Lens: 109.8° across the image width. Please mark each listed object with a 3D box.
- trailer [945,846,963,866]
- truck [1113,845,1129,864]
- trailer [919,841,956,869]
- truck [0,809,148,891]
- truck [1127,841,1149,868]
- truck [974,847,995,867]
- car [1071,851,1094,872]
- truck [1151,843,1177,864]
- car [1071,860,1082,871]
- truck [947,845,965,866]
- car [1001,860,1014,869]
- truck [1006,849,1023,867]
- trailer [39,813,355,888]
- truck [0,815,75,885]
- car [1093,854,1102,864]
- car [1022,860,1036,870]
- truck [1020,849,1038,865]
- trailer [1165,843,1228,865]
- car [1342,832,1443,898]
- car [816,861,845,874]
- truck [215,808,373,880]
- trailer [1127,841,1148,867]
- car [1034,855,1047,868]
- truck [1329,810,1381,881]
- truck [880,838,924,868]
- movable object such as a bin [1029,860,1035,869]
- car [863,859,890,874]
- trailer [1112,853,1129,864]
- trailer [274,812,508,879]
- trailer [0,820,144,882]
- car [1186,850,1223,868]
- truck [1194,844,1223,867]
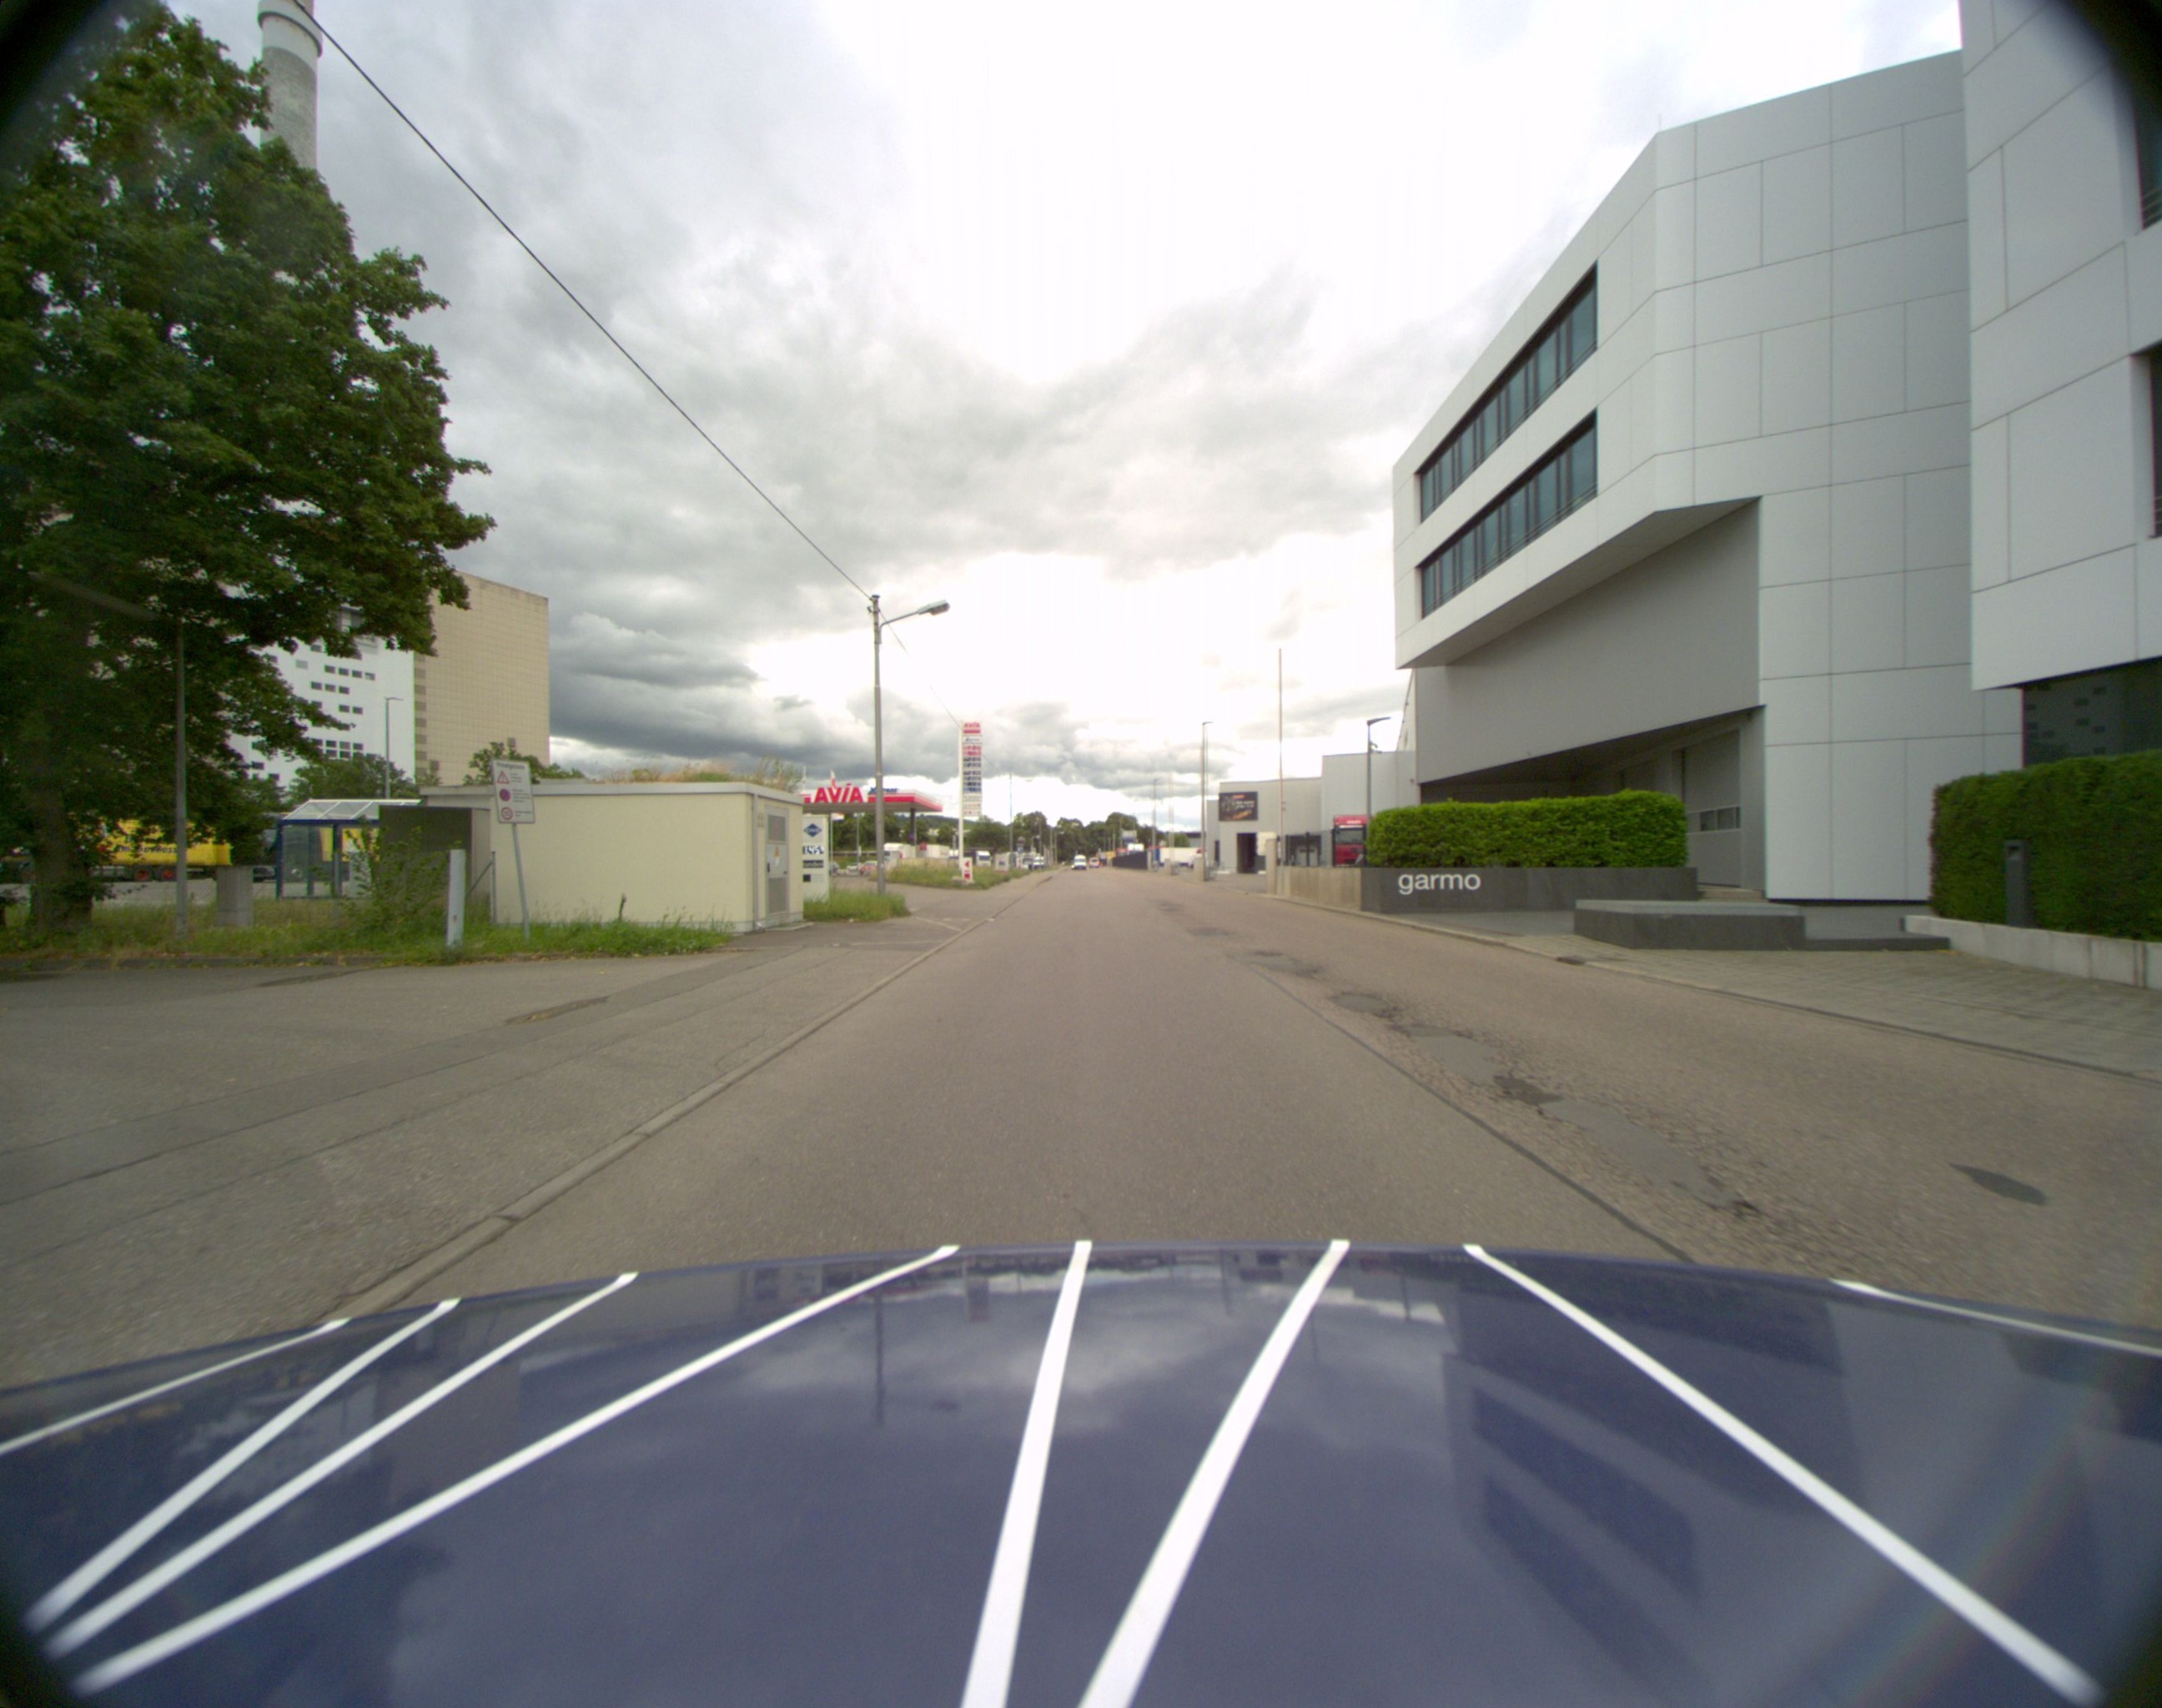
[{"bbox_3d":[-26.543,0.454,158.248,2.841,4.070,13.381,1,-1,-14],"label":"trailer"},{"bbox_3d":[8.483,0.169,159.827,3.021,3.826,5.670,1,0,0],"label":"truck"},{"bbox_3d":[-21.336,0.151,113.518,2.964,3.944,10.408,1,0,3],"label":"trailer"},{"bbox_3d":[-57.458,-0.205,42.514,3.052,4.237,6.040,0,0,-1],"label":"truck"},{"bbox_3d":[9.232,0.080,123.898,3.366,4.135,5.629,1,0,4],"label":"truck"},{"bbox_3d":[-20.752,0.655,163.122,2.877,4.070,6.746,1,-1,-20],"label":"truck"},{"bbox_3d":[0.190,1.321,130.994,3.339,3.586,8.668,0,-1,-3],"label":"car"},{"bbox_3d":[16.873,-0.132,154.062,4.878,4.108,3.048,1,0,1],"label":"truck"},{"bbox_3d":[-0.822,2.191,145.266,1.713,2.001,3.888,0,0,-5],"label":"car"},{"bbox_3d":[-25.071,0.374,152.297,2.876,4.070,6.749,1,-1,-14],"label":"truck"},{"bbox_3d":[-12.860,1.835,132.750,1.769,1.561,4.000,-3,0,0],"label":"car"},{"bbox_3d":[-15.115,0.878,172.372,2.876,3.989,6.748,1,-1,-15],"label":"truck"},{"bbox_3d":[-57.567,-0.152,50.880,3.028,4.235,15.724,0,0,-1],"label":"trailer"},{"bbox_3d":[-61.455,-0.213,42.363,2.697,3.892,6.040,0,0,-1],"label":"truck"},{"bbox_3d":[3.874,1.235,181.185,1.998,2.401,5.257,-2,-1,2],"label":"car"},{"bbox_3d":[-7.792,1.600,114.862,1.778,1.455,4.560,-1,-1,0],"label":"car"},{"bbox_3d":[-12.156,0.816,176.569,2.876,3.608,6.748,1,-1,-15],"label":"truck"},{"bbox_3d":[23.221,0.000,152.688,12.020,4.108,3.053,1,0,19],"label":"trailer"},{"bbox_3d":[8.957,0.303,22.112,1.654,1.751,3.179,-2,0,2],"label":"car"},{"bbox_3d":[-27.575,1.475,83.748,1.769,1.382,4.215,1,0,-1],"label":"car"},{"bbox_3d":[-45.341,-0.505,44.079,2.964,3.892,6.040,0,0,-1],"label":"truck"},{"bbox_3d":[9.695,0.110,130.883,3.366,4.135,13.853,1,0,4],"label":"trailer"},{"bbox_3d":[-7.769,1.456,146.166,2.091,2.401,6.084,-1,0,2],"label":"car"},{"bbox_3d":[16.993,-0.451,47.037,2.745,4.007,7.104,-1,-1,21],"label":"truck"},{"bbox_3d":[-25.532,-0.083,109.251,3.082,3.944,13.069,1,0,0],"label":"truck"},{"bbox_3d":[-6.327,1.347,97.757,0.716,1.075,0.662,-1,0,-7],"label":"movable object such as a bin"},{"bbox_3d":[-22.440,1.378,83.548,1.769,1.561,4.215,1,0,-1],"label":"car"},{"bbox_3d":[8.532,1.019,165.524,3.046,2.179,12.048,1,0,0],"label":"trailer"},{"bbox_3d":[-45.465,-0.470,51.301,3.007,3.892,14.301,0,0,-1],"label":"trailer"},{"bbox_3d":[-69.555,-0.179,48.526,2.697,3.892,13.688,0,0,-1],"label":"trailer"},{"bbox_3d":[19.555,0.834,120.213,5.423,2.714,2.245,-2,-1,19],"label":"car"},{"bbox_3d":[24.696,0.268,146.801,4.870,4.180,3.053,1,0,22],"label":"truck"}]
